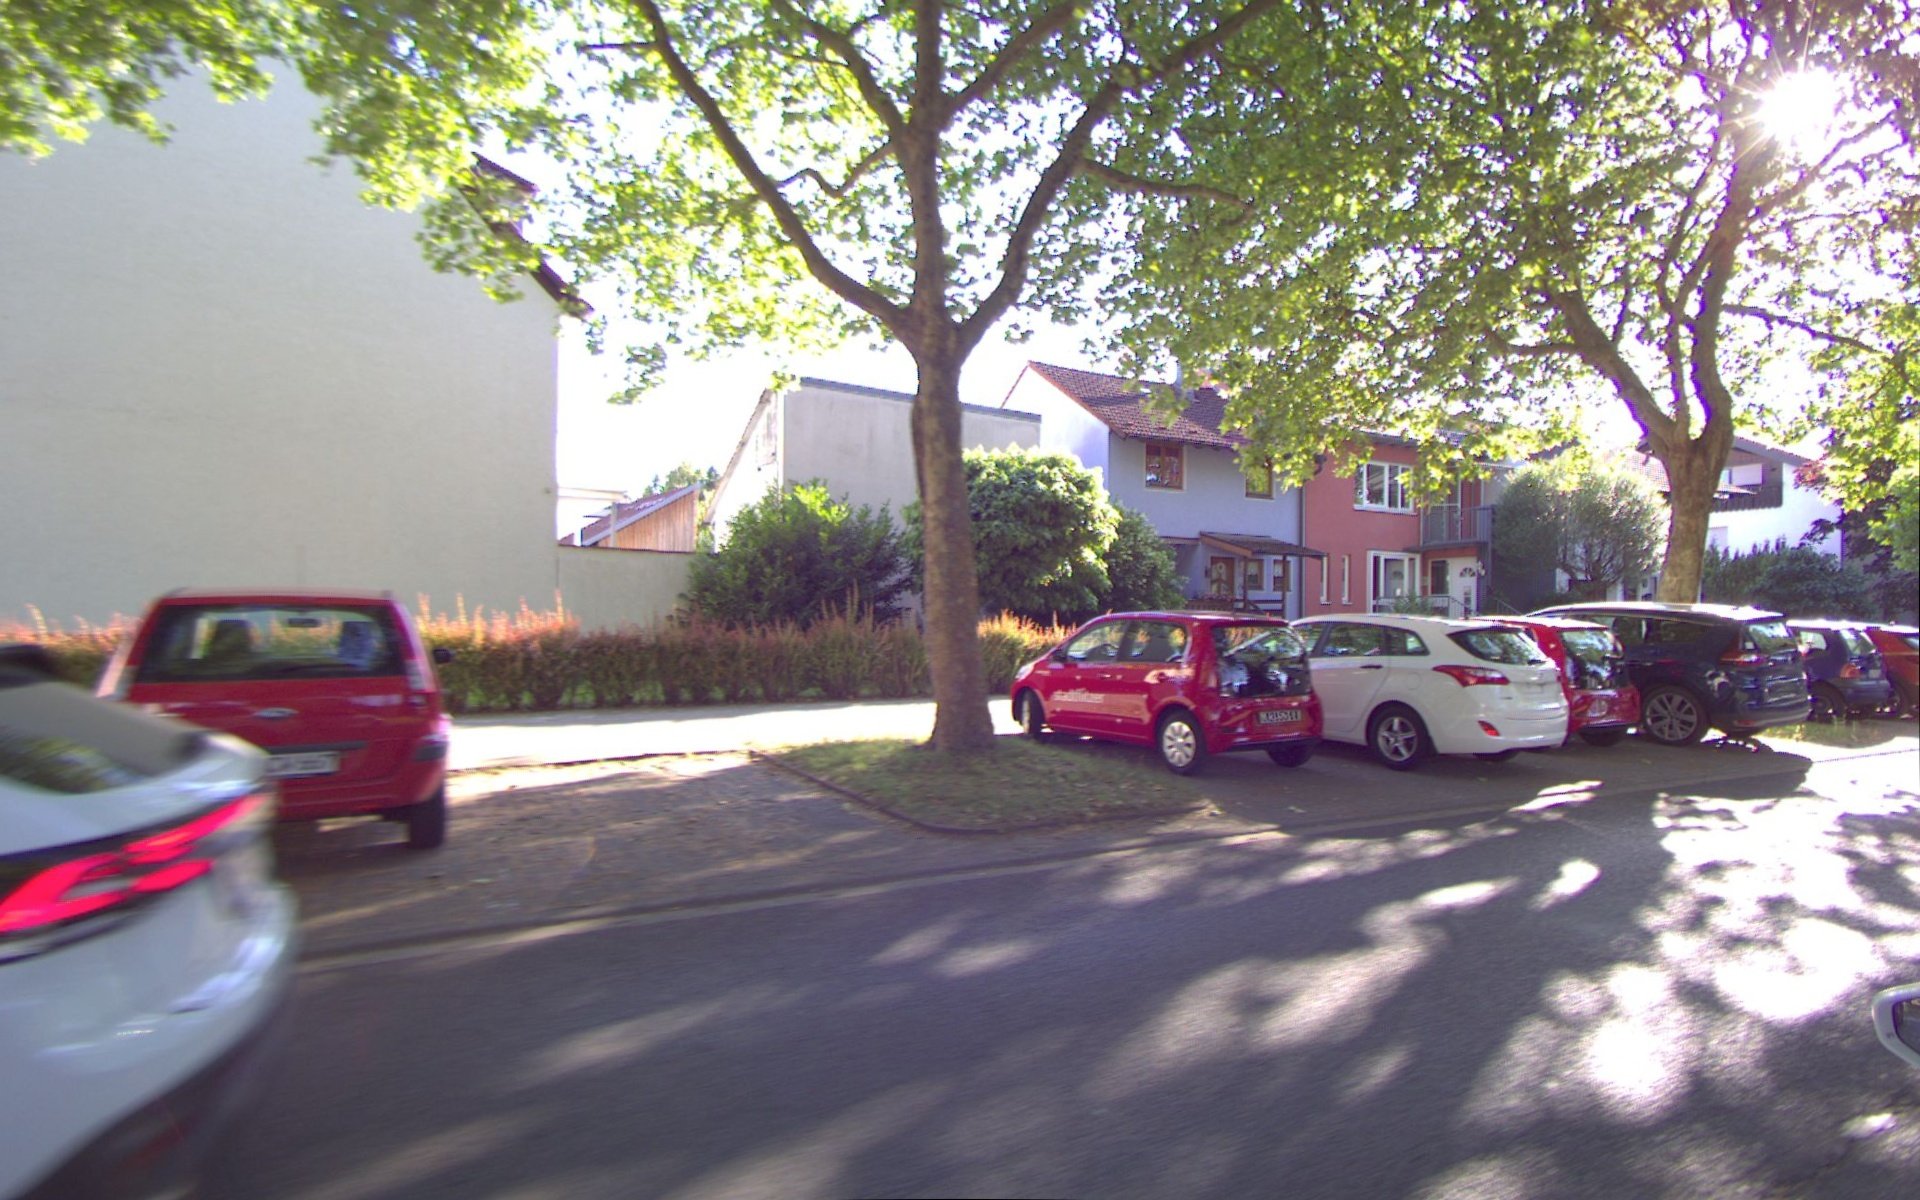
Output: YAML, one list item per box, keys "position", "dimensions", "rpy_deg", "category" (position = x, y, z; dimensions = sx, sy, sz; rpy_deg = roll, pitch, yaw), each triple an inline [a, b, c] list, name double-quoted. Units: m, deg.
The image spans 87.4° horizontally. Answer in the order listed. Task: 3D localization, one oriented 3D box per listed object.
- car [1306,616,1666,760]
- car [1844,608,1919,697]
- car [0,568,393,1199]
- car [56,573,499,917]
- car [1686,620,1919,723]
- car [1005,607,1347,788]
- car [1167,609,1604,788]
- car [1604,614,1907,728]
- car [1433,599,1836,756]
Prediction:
- position: [6.465, 0.979, 12.758]
  dimensions: [1.733, 1.503, 3.742]
  rpy_deg: [1, -1, -29]
  category: "car"
- position: [21.428, 1.117, 20.747]
  dimensions: [1.972, 1.848, 4.365]
  rpy_deg: [1, 0, -30]
  category: "car"
- position: [-3.197, 0.683, 1.492]
  dimensions: [4.044, 1.521, 1.709]
  rpy_deg: [1, -1, -29]
  category: "car"
- position: [-4.272, 0.675, 6.635]
  dimensions: [1.811, 1.555, 3.745]
  rpy_deg: [1, -1, -31]
  category: "car"
- position: [14.903, 1.142, 17.205]
  dimensions: [1.760, 1.537, 3.626]
  rpy_deg: [1, 0, -29]
  category: "car"
- position: [2.074, 0.858, 10.436]
  dimensions: [1.676, 1.499, 3.323]
  rpy_deg: [1, 0, -30]
  category: "car"
- position: [4.400, 0.894, 11.054]
  dimensions: [1.854, 1.521, 4.140]
  rpy_deg: [1, 0, -31]
  category: "car"
- position: [12.775, 1.048, 16.318]
  dimensions: [1.708, 1.537, 3.491]
  rpy_deg: [1, 0, -33]
  category: "car"
- position: [8.667, 0.879, 13.311]
  dimensions: [1.809, 1.739, 4.074]
  rpy_deg: [1, -1, -29]
  category: "car"
